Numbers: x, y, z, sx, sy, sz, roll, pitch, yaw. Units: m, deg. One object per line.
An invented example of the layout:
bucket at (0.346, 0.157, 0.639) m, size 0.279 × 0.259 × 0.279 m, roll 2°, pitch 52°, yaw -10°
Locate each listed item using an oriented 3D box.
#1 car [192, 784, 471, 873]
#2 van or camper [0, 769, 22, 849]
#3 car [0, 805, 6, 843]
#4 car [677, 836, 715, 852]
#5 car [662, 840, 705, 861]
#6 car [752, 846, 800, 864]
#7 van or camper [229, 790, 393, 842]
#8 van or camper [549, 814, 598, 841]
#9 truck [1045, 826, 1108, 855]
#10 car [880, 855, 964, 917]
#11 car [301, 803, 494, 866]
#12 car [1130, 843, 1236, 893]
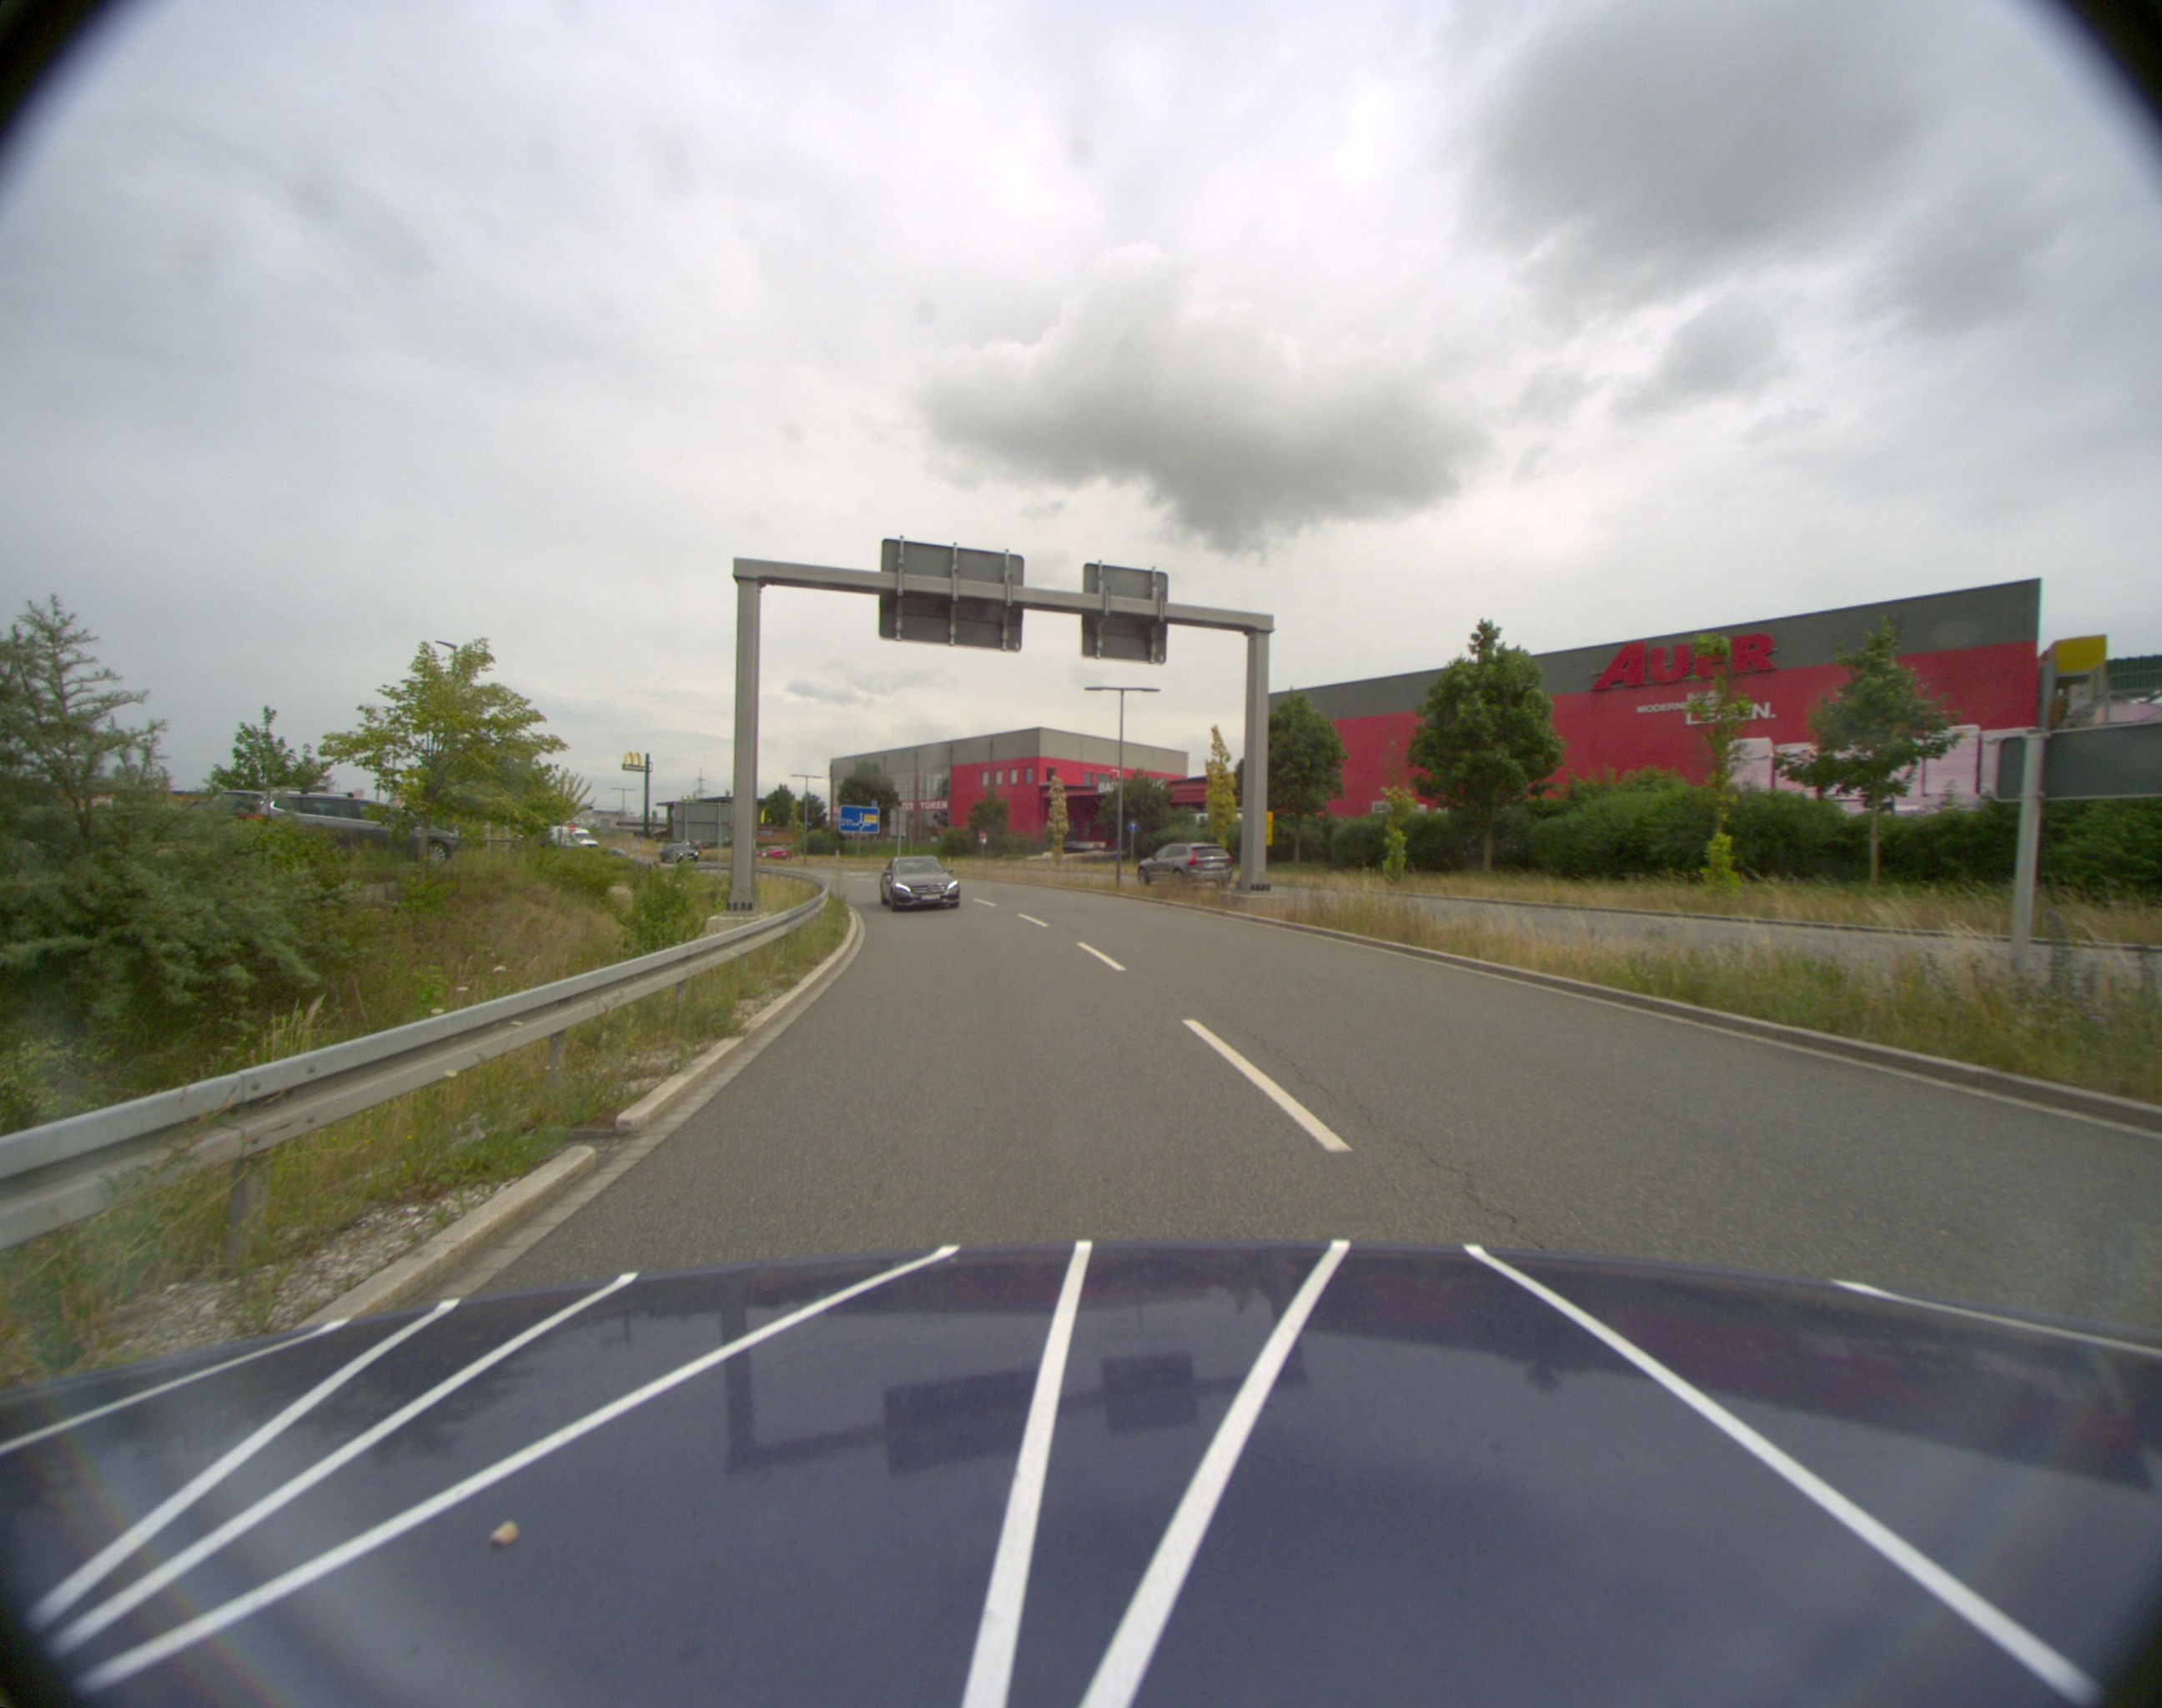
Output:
car at (-17.044, -0.598, 17.617) m, size 1.801 × 1.772 × 4.172 m, roll -1°, pitch 2°, yaw 14°
van or camper at (-46.279, -1.842, 28.252) m, size 2.485 × 3.160 × 7.756 m, roll 1°, pitch 0°, yaw 44°
car at (-50.891, -1.387, 33.274) m, size 4.071 × 1.710 × 1.774 m, roll 0°, pitch 1°, yaw -41°
car at (-42.366, -1.077, 83.661) m, size 4.623 × 1.617 × 1.918 m, roll 0°, pitch 3°, yaw 39°
car at (-34.832, -0.354, 66.549) m, size 3.988 × 1.710 × 1.847 m, roll 1°, pitch 4°, yaw 40°
car at (-27.896, 0.092, 69.433) m, size 4.957 × 1.439 × 1.800 m, roll 0°, pitch 3°, yaw 39°
van or camper at (-31.694, -1.508, 31.515) m, size 1.812 × 1.986 × 4.676 m, roll 0°, pitch 1°, yaw 3°
van or camper at (-52.455, -2.741, 78.432) m, size 6.026 × 2.635 × 2.339 m, roll 2°, pitch 3°, yaw 38°
truck at (-0.423, -1.247, 67.503) m, size 5.889 × 2.473 × 2.044 m, roll 1°, pitch 3°, yaw 45°
car at (-4.694, 0.825, 21.953) m, size 1.909 × 1.488 × 4.332 m, roll -2°, pitch 1°, yaw -18°
car at (-19.425, -0.581, 21.781) m, size 1.515 × 1.644 × 3.739 m, roll -1°, pitch 2°, yaw 28°
car at (3.668, 0.455, 28.226) m, size 1.817 × 1.620 × 4.678 m, roll -3°, pitch 1°, yaw -21°
